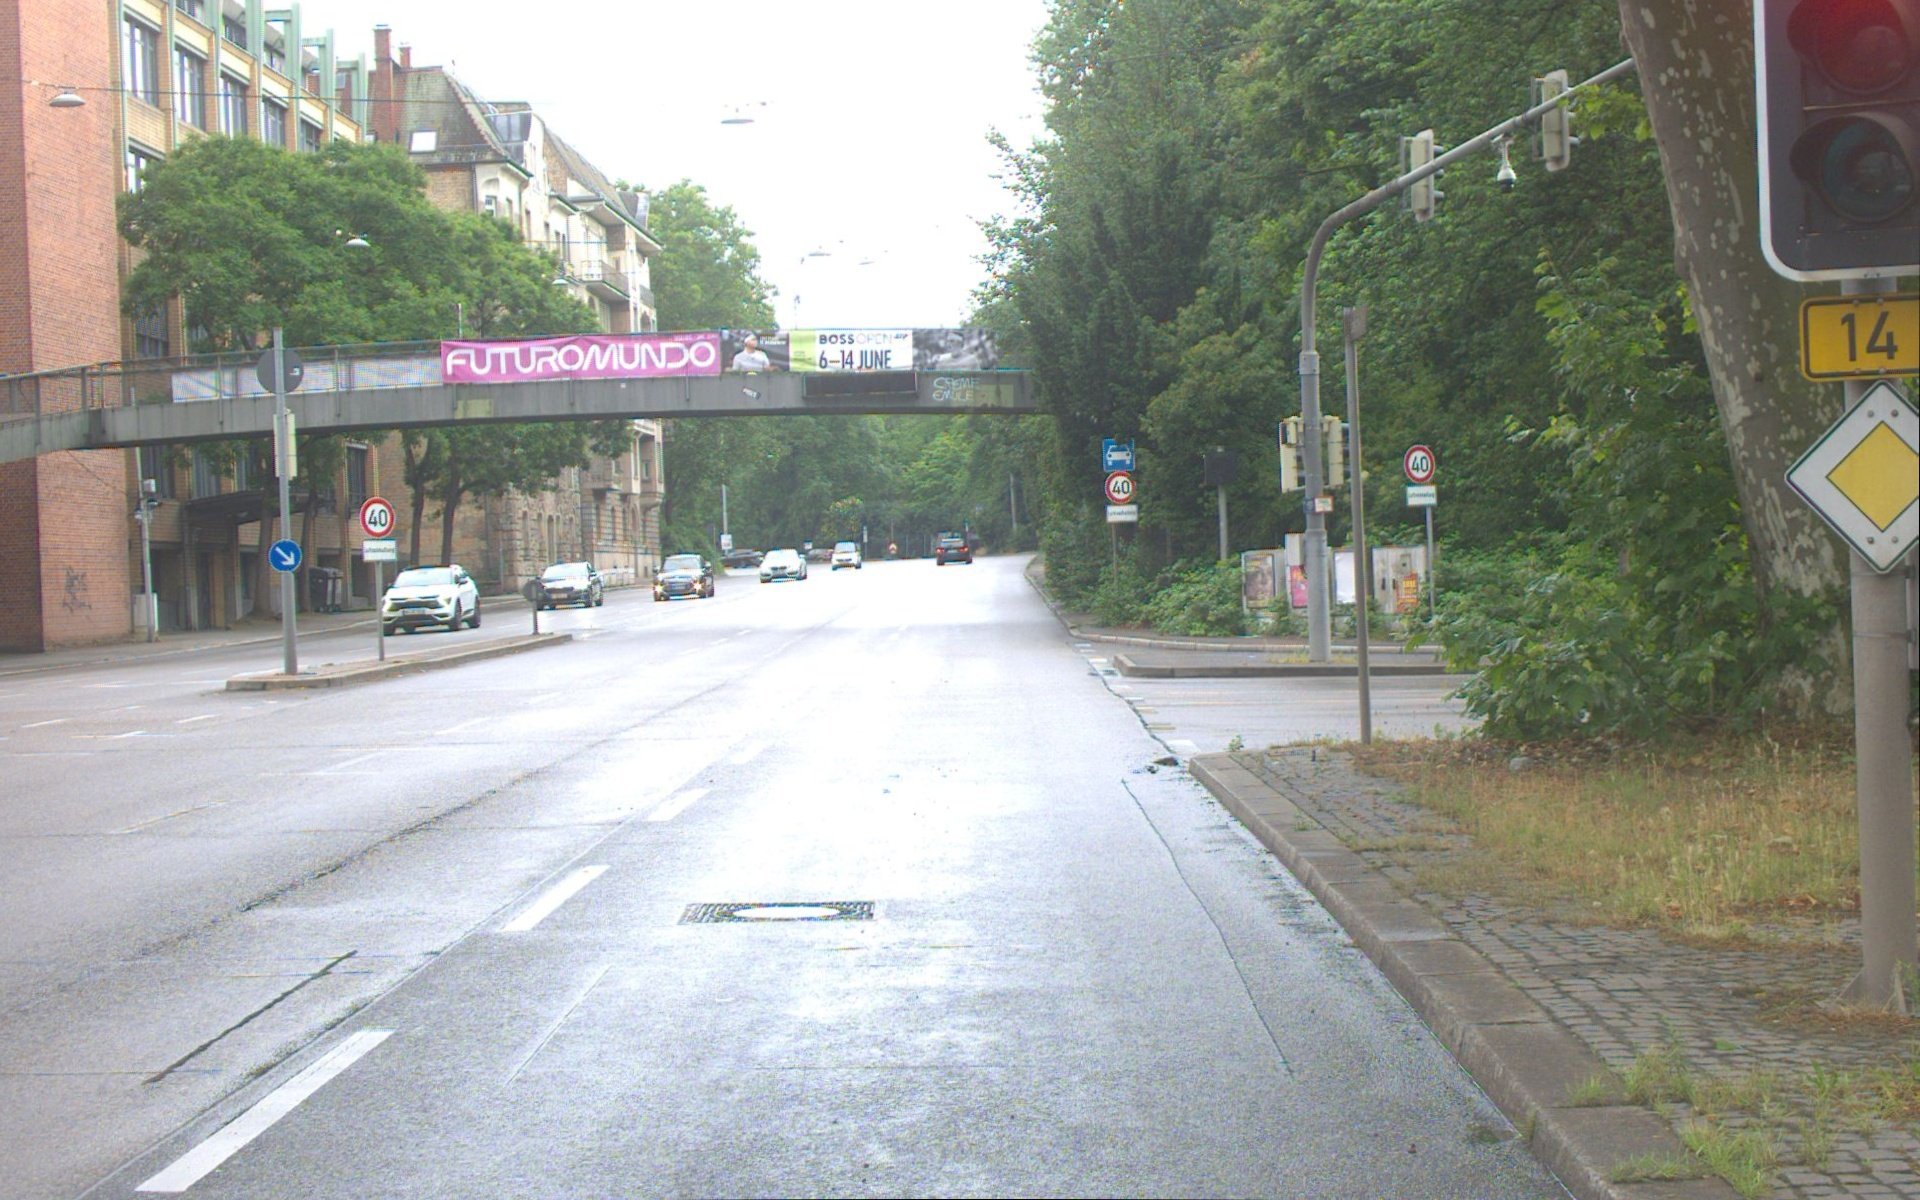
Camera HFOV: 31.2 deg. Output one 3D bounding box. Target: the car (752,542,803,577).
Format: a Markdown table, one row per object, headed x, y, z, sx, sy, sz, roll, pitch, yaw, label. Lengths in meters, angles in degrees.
| x | y | z | sx | sy | sz | roll | pitch | yaw | label |
| --- | --- | --- | --- | --- | --- | --- | --- | --- | --- |
| -7.864 | -1.738 | 148.720 | 1.830 | 1.389 | 4.405 | -3 | 0 | 1 | car |

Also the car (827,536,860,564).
| x | y | z | sx | sy | sz | roll | pitch | yaw | label |
| --- | --- | --- | --- | --- | --- | --- | --- | --- | --- |
| -6.594 | -2.814 | 195.299 | 1.600 | 1.494 | 3.711 | -3 | 0 | 1 | car |

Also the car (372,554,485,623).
| x | y | z | sx | sy | sz | roll | pitch | yaw | label |
| --- | --- | --- | --- | --- | --- | --- | --- | --- | --- |
| -12.992 | -0.296 | 84.219 | 1.890 | 1.604 | 4.456 | -1 | 0 | 2 | car |

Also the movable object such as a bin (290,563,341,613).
| x | y | z | sx | sy | sz | roll | pitch | yaw | label |
| --- | --- | --- | --- | --- | --- | --- | --- | --- | --- |
| -20.091 | -0.371 | 107.126 | 1.282 | 1.513 | 1.273 | -1 | 1 | 1 | movable object such as a bin |

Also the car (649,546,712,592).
| x | y | z | sx | sy | sz | roll | pitch | yaw | label |
| --- | --- | --- | --- | --- | --- | --- | --- | --- | --- |
| -9.232 | -1.027 | 113.634 | 1.683 | 1.431 | 3.862 | -2 | 0 | 1 | car |

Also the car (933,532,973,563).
| x | y | z | sx | sy | sz | roll | pitch | yaw | label |
| --- | --- | --- | --- | --- | --- | --- | --- | --- | --- |
| -0.409 | -2.852 | 186.832 | 2.004 | 1.638 | 4.376 | -2 | 1 | -2 | car |

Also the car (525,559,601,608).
| x | y | z | sx | sy | sz | roll | pitch | yaw | label |
| --- | --- | --- | --- | --- | --- | --- | --- | --- | --- |
| -12.438 | -0.535 | 107.855 | 1.709 | 1.459 | 4.041 | -2 | 0 | 3 | car |
